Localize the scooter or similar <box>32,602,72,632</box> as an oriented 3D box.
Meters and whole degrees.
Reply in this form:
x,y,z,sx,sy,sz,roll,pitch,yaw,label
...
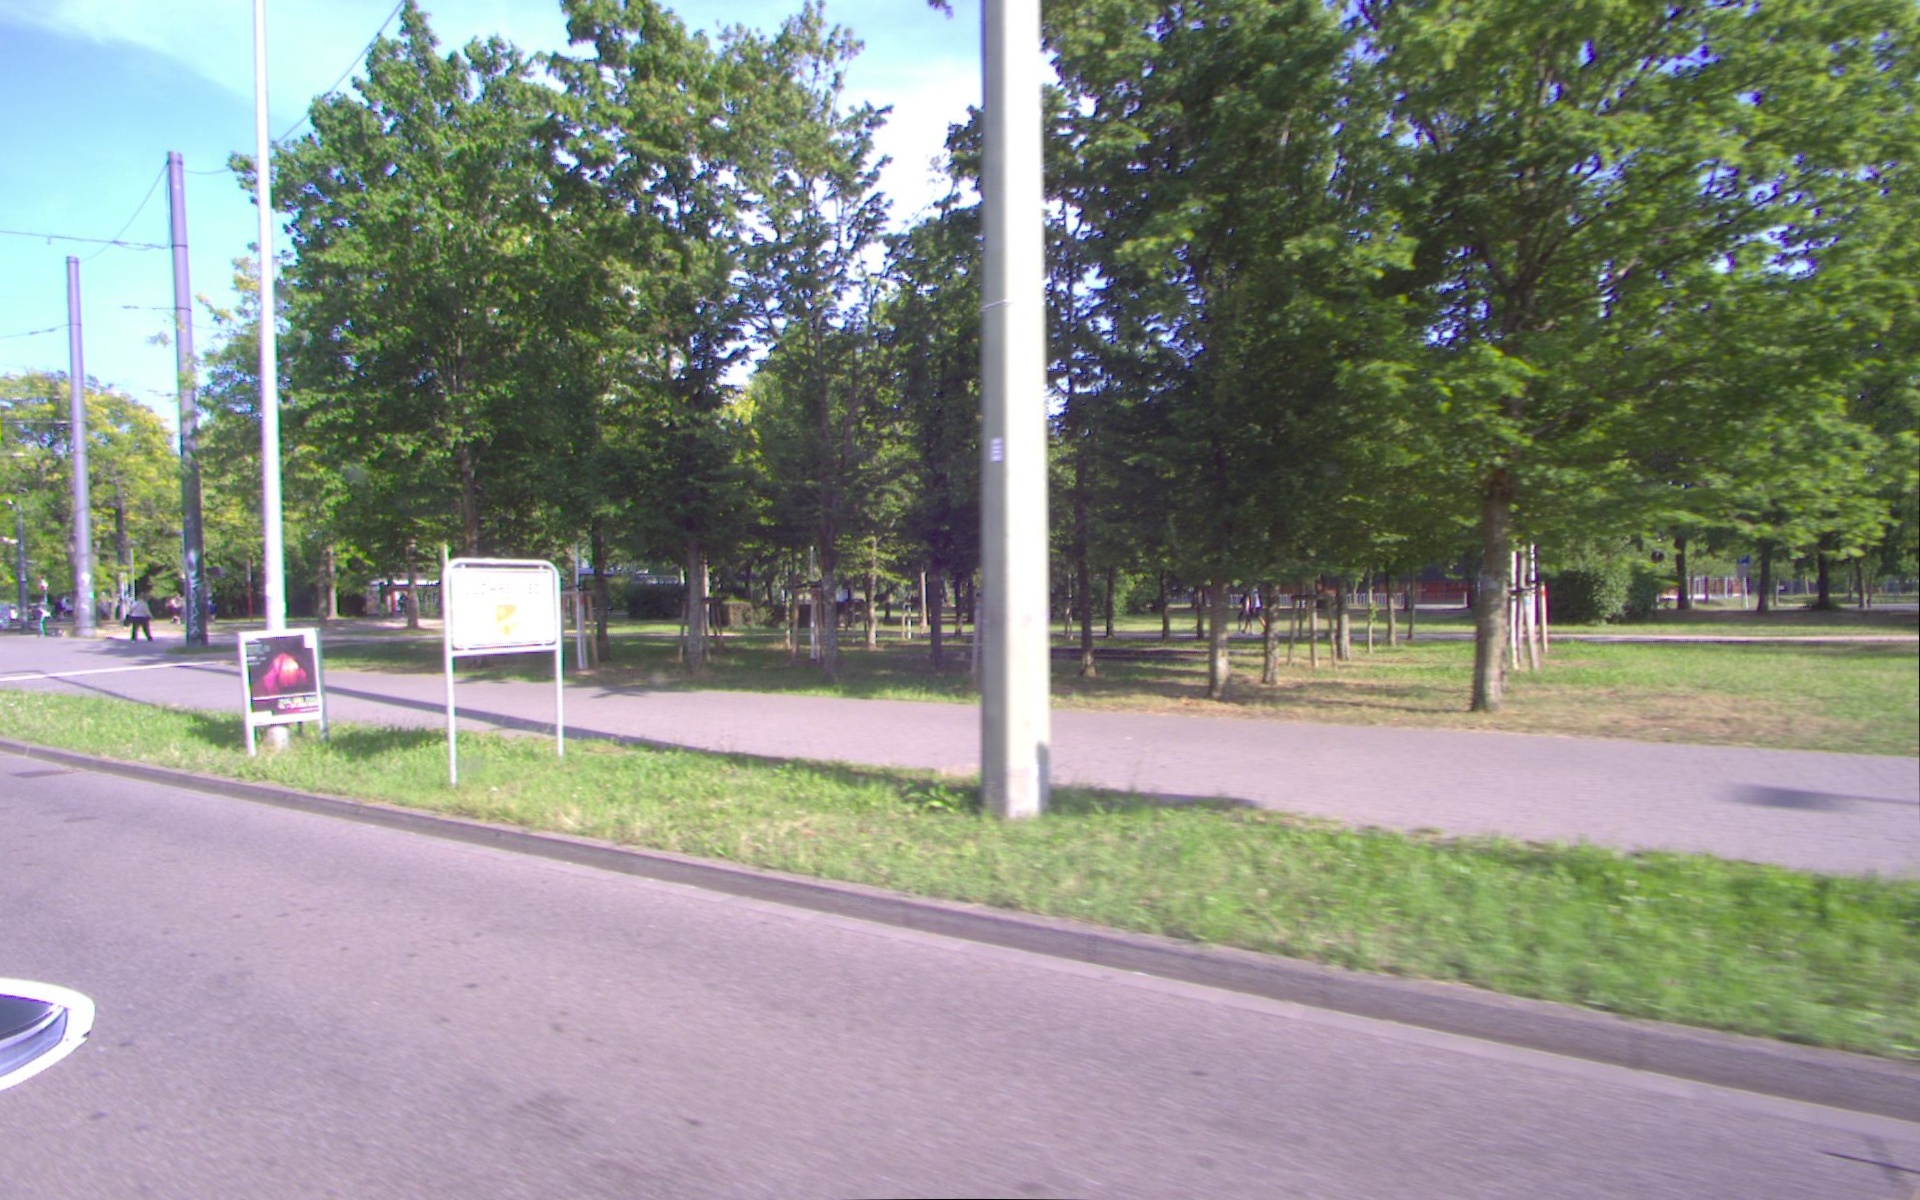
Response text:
x,y,z,sx,sy,sz,roll,pitch,yaw,label
-34.575,0.658,38.127,1.305,1.132,0.420,0,1,12,scooter or similar

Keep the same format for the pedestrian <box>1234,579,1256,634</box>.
x,y,z,sx,sy,sz,roll,pitch,yaw,label
9.580,0.216,33.686,0.617,1.836,0.502,-1,1,6,pedestrian

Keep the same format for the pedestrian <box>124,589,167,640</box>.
x,y,z,sx,sy,sz,roll,pitch,yaw,label
-27.162,0.467,33.407,0.793,1.659,0.754,-1,1,-8,pedestrian

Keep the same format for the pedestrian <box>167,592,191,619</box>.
x,y,z,sx,sy,sz,roll,pitch,yaw,label
-44.148,0.317,56.607,0.687,1.508,0.815,-1,1,-10,pedestrian

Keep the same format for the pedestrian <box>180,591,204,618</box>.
x,y,z,sx,sy,sz,roll,pitch,yaw,label
-44.222,0.270,57.633,0.688,1.508,0.813,0,1,21,pedestrian

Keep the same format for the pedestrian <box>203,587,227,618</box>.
x,y,z,sx,sy,sz,roll,pitch,yaw,label
-43.385,0.148,58.327,0.826,1.809,0.799,0,1,28,pedestrian

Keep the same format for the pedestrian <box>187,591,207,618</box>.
x,y,z,sx,sy,sz,roll,pitch,yaw,label
-43.108,0.265,56.600,0.805,1.508,0.696,-2,2,-34,pedestrian

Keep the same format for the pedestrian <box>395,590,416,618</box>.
x,y,z,sx,sy,sz,roll,pitch,yaw,label
-33.019,0.249,59.659,0.792,1.659,0.833,0,2,38,pedestrian

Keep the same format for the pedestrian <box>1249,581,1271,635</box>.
x,y,z,sx,sy,sz,roll,pitch,yaw,label
10.268,0.277,34.318,0.617,1.836,0.502,-1,1,3,pedestrian
